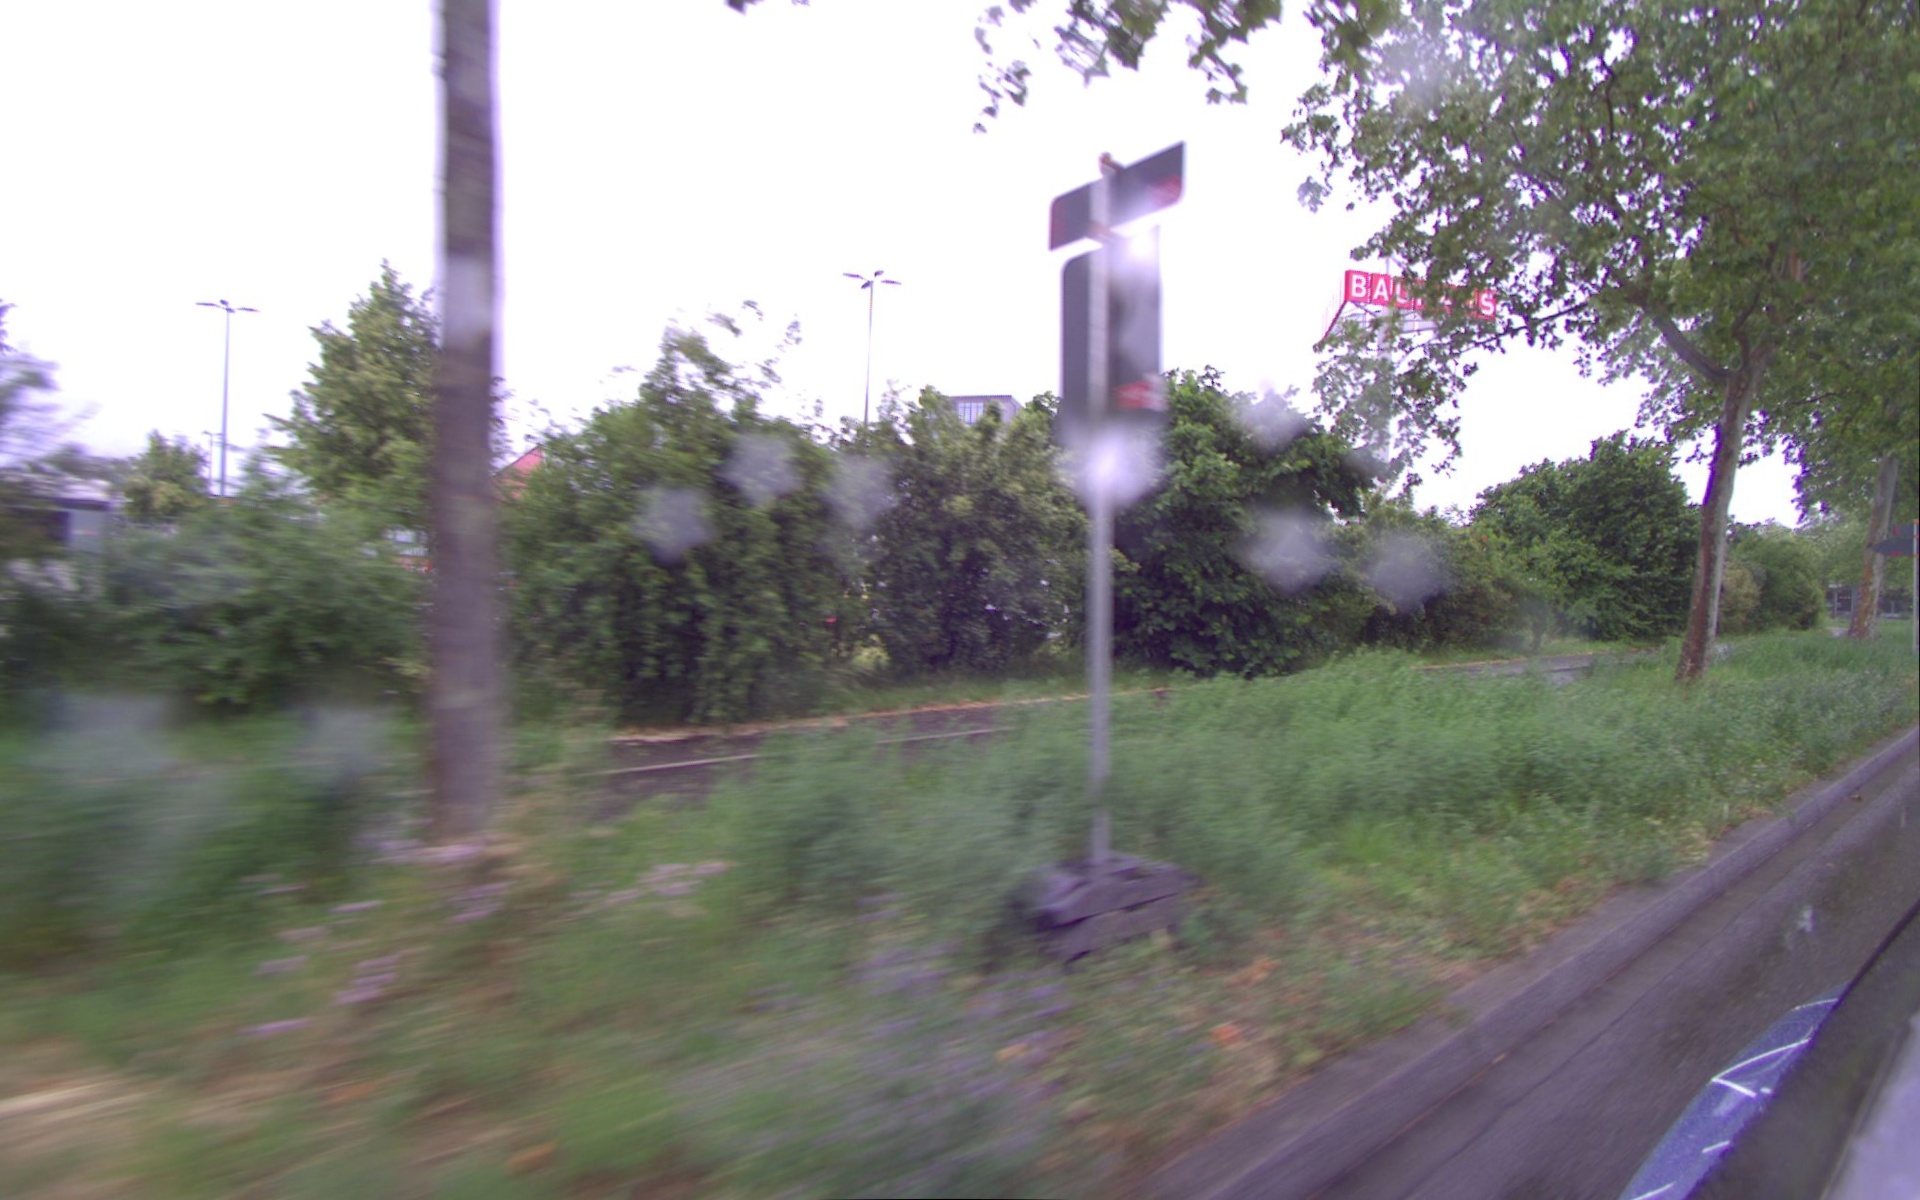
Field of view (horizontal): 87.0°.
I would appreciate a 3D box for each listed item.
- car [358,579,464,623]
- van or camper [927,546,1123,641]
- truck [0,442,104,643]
[{"bbox_3d":[-23.475,-0.003,43.455,1.968,1.738,3.989,1,2,10],"label":"car"},{"bbox_3d":[1.790,-0.228,30.608,1.966,2.575,6.371,0,1,-42],"label":"van or camper"},{"bbox_3d":[-13.631,-0.672,13.858,6.530,2.333,2.186,0,1,43],"label":"truck"}]
